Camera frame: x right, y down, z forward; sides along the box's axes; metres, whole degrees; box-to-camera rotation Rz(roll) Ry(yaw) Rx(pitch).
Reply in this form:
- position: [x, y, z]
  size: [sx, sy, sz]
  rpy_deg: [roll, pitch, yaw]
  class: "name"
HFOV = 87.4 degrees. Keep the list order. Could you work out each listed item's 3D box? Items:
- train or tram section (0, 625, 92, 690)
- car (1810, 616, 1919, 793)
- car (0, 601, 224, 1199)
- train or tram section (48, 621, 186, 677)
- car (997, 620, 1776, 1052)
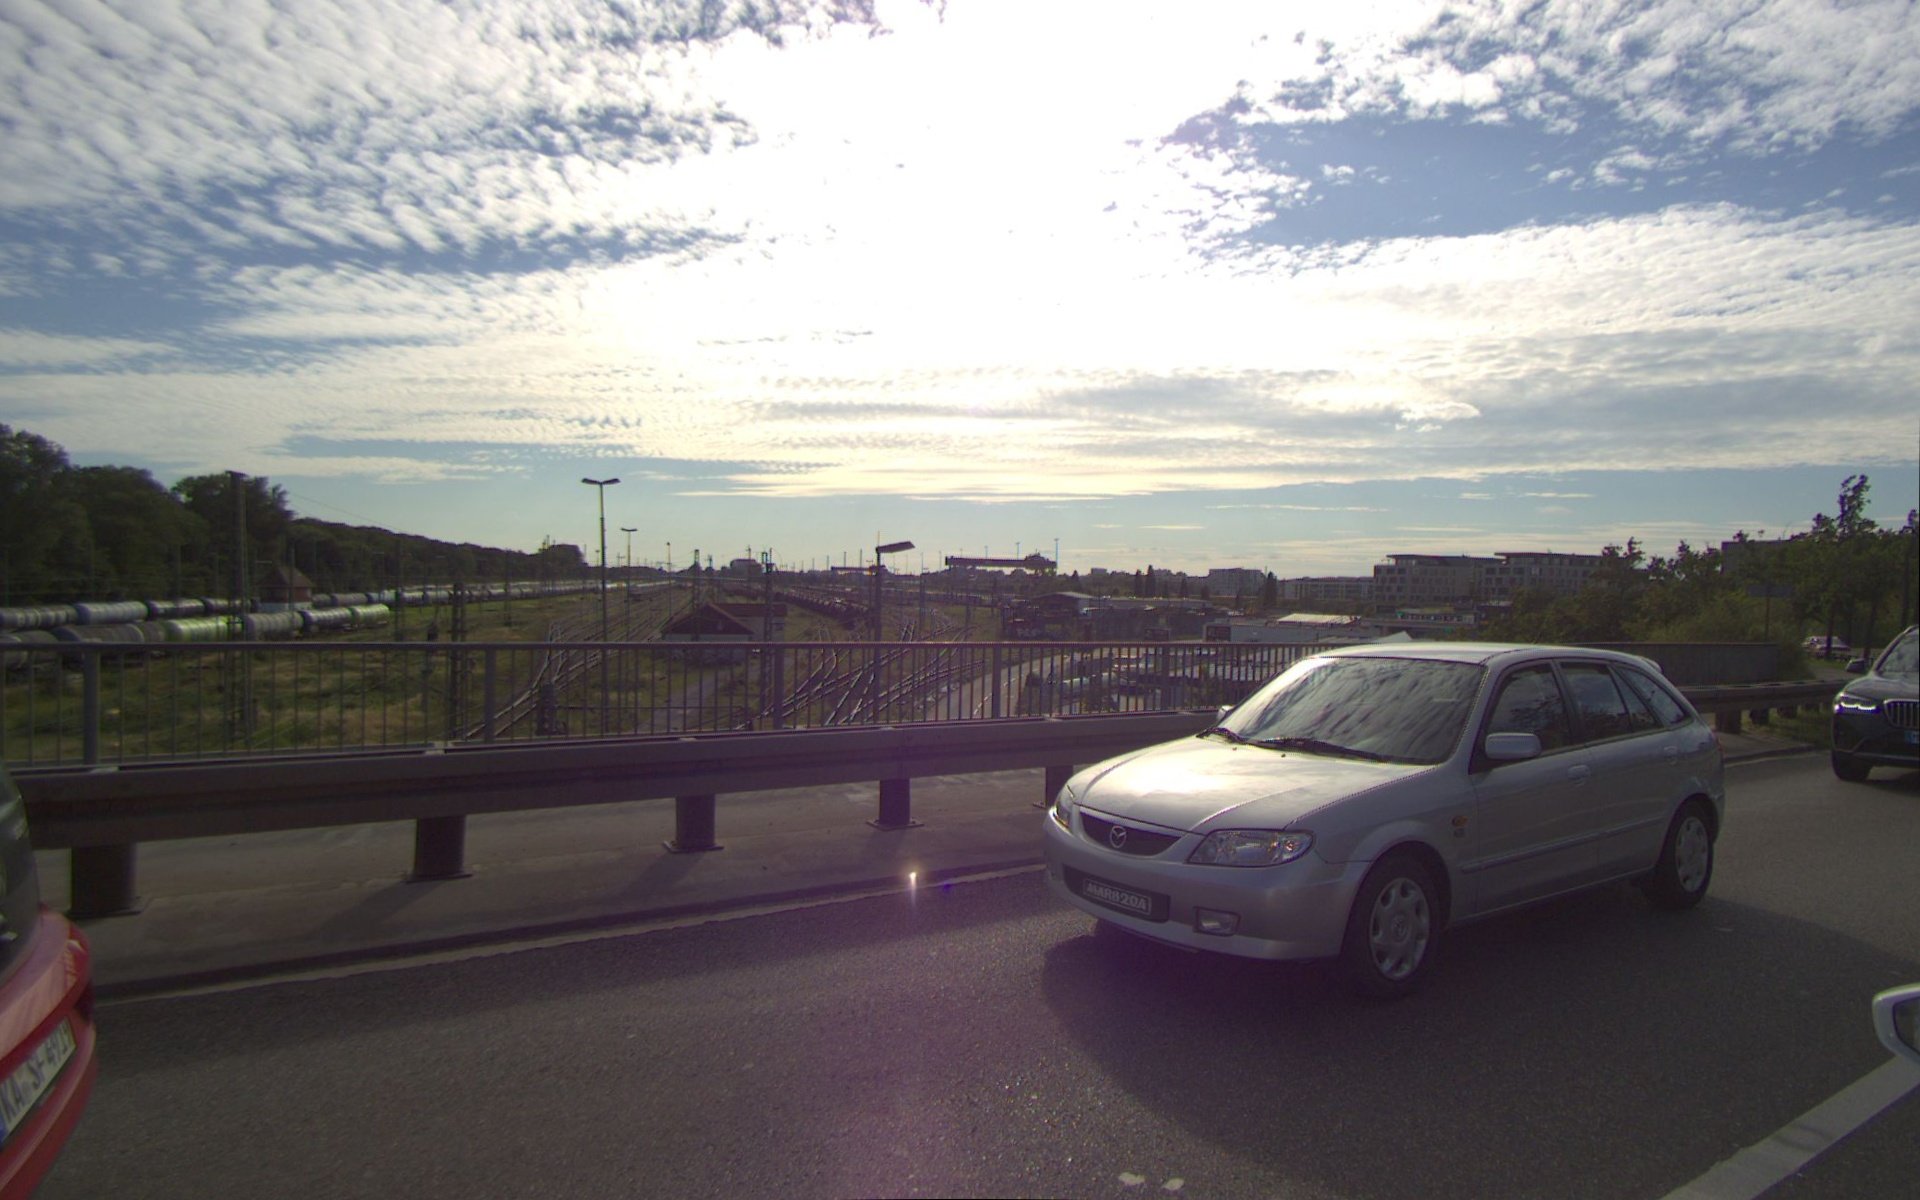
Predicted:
- position: [-75.265, 4.474, 79.277]
  size: [3.045, 4.775, 16.699]
  rpy_deg: [1, -1, -15]
  class: "train or tram section"
- position: [10.988, 1.051, 10.793]
  size: [4.599, 1.671, 1.876]
  rpy_deg: [2, -2, -37]
  class: "car"
- position: [-3.338, 0.709, 1.238]
  size: [3.691, 1.484, 1.592]
  rpy_deg: [2, -1, -29]
  class: "car"
- position: [-79.489, 4.450, 95.439]
  size: [3.045, 4.775, 16.699]
  rpy_deg: [1, -1, -15]
  class: "train or tram section"
- position: [2.418, 0.878, 5.323]
  size: [4.218, 1.474, 1.722]
  rpy_deg: [2, -1, -32]
  class: "car"
